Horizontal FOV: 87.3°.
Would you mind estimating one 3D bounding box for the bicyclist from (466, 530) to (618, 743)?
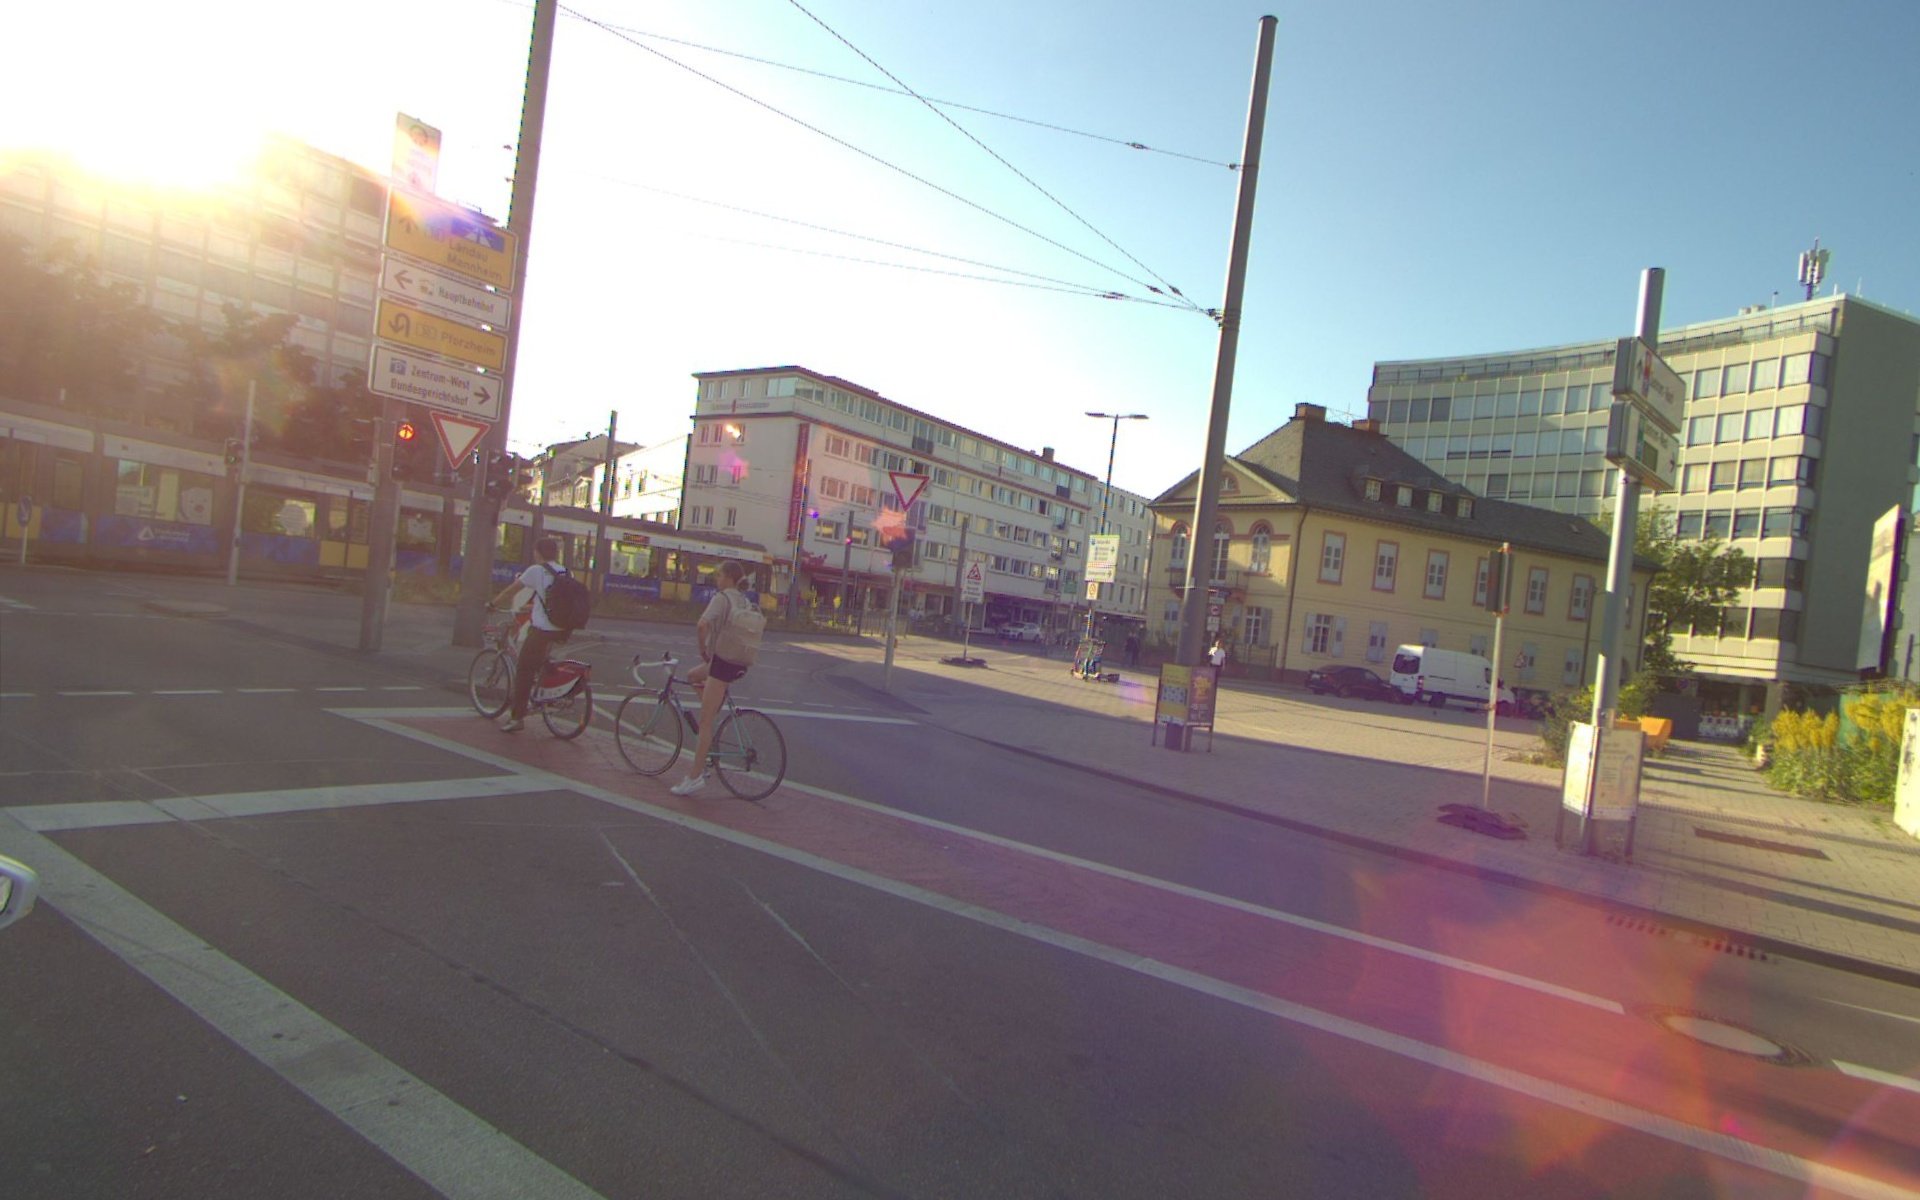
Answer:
[{"bbox_3d":[-3.814,0.321,9.179,1.042,1.789,0.543,7,-1,27],"label":"bicyclist"}]

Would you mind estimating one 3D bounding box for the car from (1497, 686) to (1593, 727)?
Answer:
[{"bbox_3d":[27.094,4.928,46.593,3.706,1.380,1.709,8,-2,-17],"label":"car"}]

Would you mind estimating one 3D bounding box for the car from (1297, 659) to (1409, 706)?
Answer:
[{"bbox_3d":[16.623,3.485,42.596,4.133,1.380,1.709,8,-2,-17],"label":"car"}]

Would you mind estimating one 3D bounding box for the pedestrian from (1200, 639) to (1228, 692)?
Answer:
[{"bbox_3d":[9.062,2.334,35.888,0.746,1.783,1.009,7,-1,16],"label":"pedestrian"}]

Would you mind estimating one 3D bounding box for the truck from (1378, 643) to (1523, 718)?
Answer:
[{"bbox_3d":[21.833,3.578,44.811,5.556,2.578,2.294,8,-2,-17],"label":"truck"}]

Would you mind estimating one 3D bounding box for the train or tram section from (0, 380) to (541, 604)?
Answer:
[{"bbox_3d":[-18.201,-2.430,28.389,3.646,3.878,12.987,7,-2,20],"label":"train or tram section"}]

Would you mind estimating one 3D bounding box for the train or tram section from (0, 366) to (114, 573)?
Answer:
[{"bbox_3d":[-20.471,-2.843,15.298,3.647,3.880,13.361,6,-1,0],"label":"train or tram section"}]

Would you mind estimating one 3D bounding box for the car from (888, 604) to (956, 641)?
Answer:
[{"bbox_3d":[-2.658,1.626,71.643,1.970,2.036,4.858,6,-2,38],"label":"car"}]

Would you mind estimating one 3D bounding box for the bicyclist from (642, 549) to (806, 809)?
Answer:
[{"bbox_3d":[-1.747,0.570,7.487,0.778,1.766,0.615,7,-1,27],"label":"bicyclist"}]

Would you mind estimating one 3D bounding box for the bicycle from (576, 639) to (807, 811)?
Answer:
[{"bbox_3d":[-2.062,0.915,7.661,1.664,1.013,0.543,6,-1,27],"label":"bicycle"}]

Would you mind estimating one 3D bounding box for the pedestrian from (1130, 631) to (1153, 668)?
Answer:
[{"bbox_3d":[8.604,2.353,47.619,0.802,1.661,0.687,7,-1,3],"label":"pedestrian"}]

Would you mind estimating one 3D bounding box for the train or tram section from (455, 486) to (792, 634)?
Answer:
[{"bbox_3d":[-12.559,-1.246,39.789,3.655,3.877,12.961,6,-2,32],"label":"train or tram section"}]

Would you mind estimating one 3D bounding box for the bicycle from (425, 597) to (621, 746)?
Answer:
[{"bbox_3d":[-4.037,0.635,9.254,1.777,1.113,0.543,6,-1,27],"label":"bicycle"}]

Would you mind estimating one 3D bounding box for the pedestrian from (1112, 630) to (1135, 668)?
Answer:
[{"bbox_3d":[7.679,2.299,47.281,0.802,1.661,0.687,7,-1,7],"label":"pedestrian"}]

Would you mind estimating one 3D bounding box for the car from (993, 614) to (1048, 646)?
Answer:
[{"bbox_3d":[5.040,2.509,83.394,1.970,2.036,4.858,6,-2,38],"label":"car"}]

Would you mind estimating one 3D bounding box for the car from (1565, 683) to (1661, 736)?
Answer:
[{"bbox_3d":[31.152,5.207,47.981,3.706,2.003,1.709,8,-2,-17],"label":"car"}]
